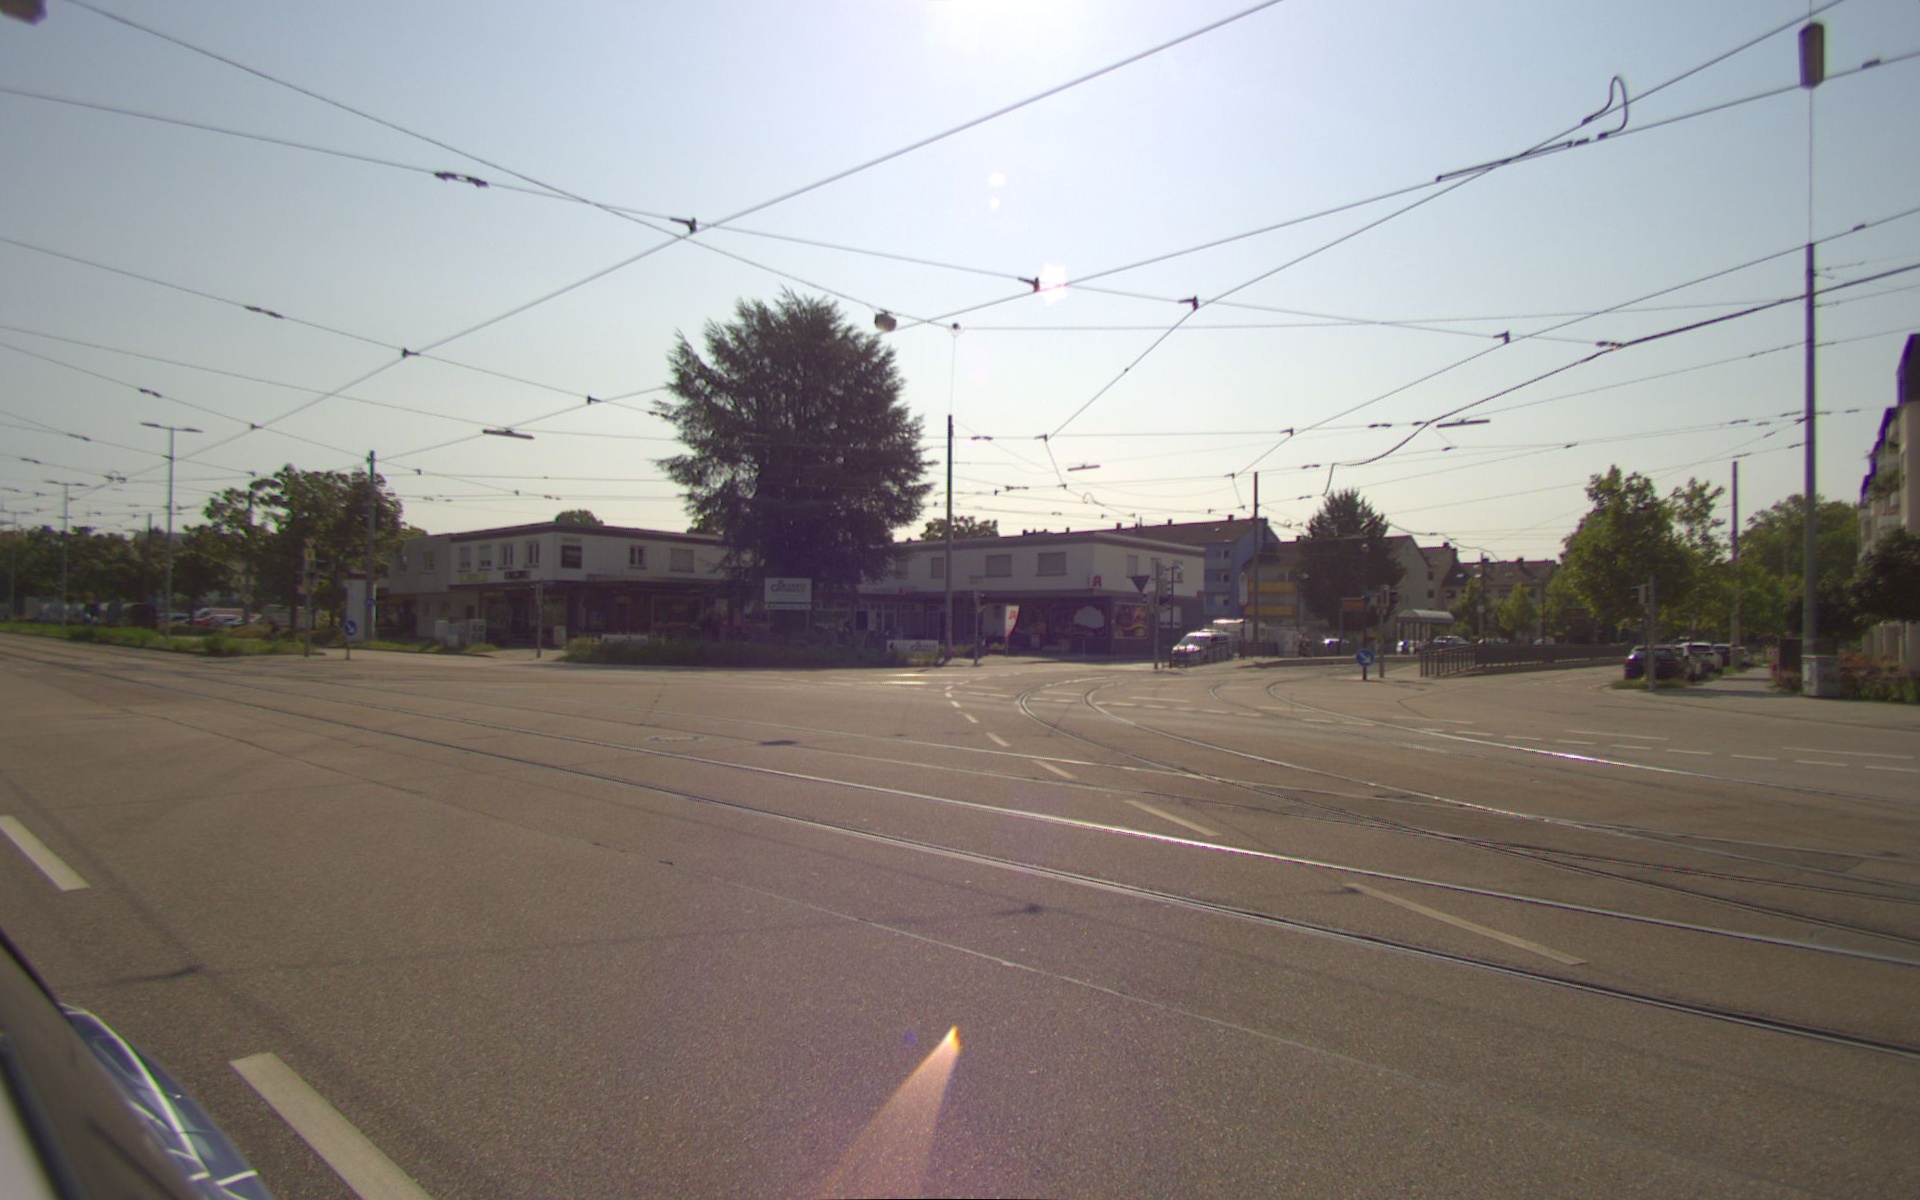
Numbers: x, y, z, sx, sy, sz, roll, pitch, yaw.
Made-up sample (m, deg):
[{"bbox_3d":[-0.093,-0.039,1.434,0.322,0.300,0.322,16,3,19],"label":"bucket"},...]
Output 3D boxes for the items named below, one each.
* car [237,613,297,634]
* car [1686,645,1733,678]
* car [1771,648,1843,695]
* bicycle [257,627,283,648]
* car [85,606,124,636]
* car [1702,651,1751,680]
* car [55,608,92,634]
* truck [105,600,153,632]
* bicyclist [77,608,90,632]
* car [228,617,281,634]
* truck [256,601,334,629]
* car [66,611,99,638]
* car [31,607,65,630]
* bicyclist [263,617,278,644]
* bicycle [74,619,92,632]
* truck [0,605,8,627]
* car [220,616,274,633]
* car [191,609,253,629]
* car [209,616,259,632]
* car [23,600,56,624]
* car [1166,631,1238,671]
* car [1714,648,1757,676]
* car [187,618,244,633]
[{"bbox_3d":[-66.110,2.216,96.629,1.632,1.798,4.354,-1,-4,39],"label":"car"},{"bbox_3d":[37.682,3.107,50.874,1.672,1.492,3.865,-1,-4,40],"label":"car"},{"bbox_3d":[30.875,2.564,36.934,1.929,1.519,4.067,-1,-2,40],"label":"car"},{"bbox_3d":[-40.407,2.184,59.253,2.205,1.189,0.569,-3,-6,38],"label":"bicycle"},{"bbox_3d":[-78.780,1.923,93.113,6.467,2.606,1.966,-1,-2,43],"label":"car"},{"bbox_3d":[46.468,3.978,61.304,2.000,1.666,3.943,-1,-4,43],"label":"car"},{"bbox_3d":[-93.690,2.217,106.916,5.629,2.606,2.110,-1,-4,42],"label":"car"},{"bbox_3d":[-71.300,1.396,86.788,5.735,2.567,2.059,-1,-4,41],"label":"truck"},{"bbox_3d":[-77.758,1.793,89.768,0.773,2.080,0.631,0,-4,38],"label":"bicyclist"},{"bbox_3d":[-68.291,2.481,98.035,1.632,1.530,3.883,-1,-4,39],"label":"car"},{"bbox_3d":[-60.178,1.371,91.693,2.258,2.189,5.434,-1,-4,39],"label":"truck"},{"bbox_3d":[-88.093,2.458,101.574,5.908,2.606,1.802,-1,-2,42],"label":"car"},{"bbox_3d":[-104.955,2.101,116.502,4.828,2.477,2.121,-1,-4,40],"label":"car"},{"bbox_3d":[-40.365,1.774,59.244,0.489,1.534,0.562,-1,-4,39],"label":"bicyclist"},{"bbox_3d":[-77.837,2.274,89.782,2.262,1.099,0.708,0,-4,38],"label":"bicycle"},{"bbox_3d":[-144.383,2.335,151.383,8.788,3.145,2.248,-1,-4,44],"label":"truck"},{"bbox_3d":[-71.430,2.463,101.449,1.620,1.474,4.123,-1,-4,33],"label":"car"},{"bbox_3d":[-81.177,2.098,111.395,2.051,1.940,5.132,-1,-4,39],"label":"car"},{"bbox_3d":[-75.679,2.478,105.578,1.632,1.461,3.883,-1,-4,39],"label":"car"},{"bbox_3d":[-111.873,1.480,122.975,7.229,2.826,2.102,-1,-4,42],"label":"car"},{"bbox_3d":[12.153,2.506,50.762,1.823,1.901,3.970,-1,-2,42],"label":"car"},{"bbox_3d":[53.422,4.253,69.689,2.000,1.787,3.943,-1,-4,43],"label":"car"},{"bbox_3d":[-79.838,2.741,108.527,1.632,1.461,4.606,-1,-4,39],"label":"car"}]
